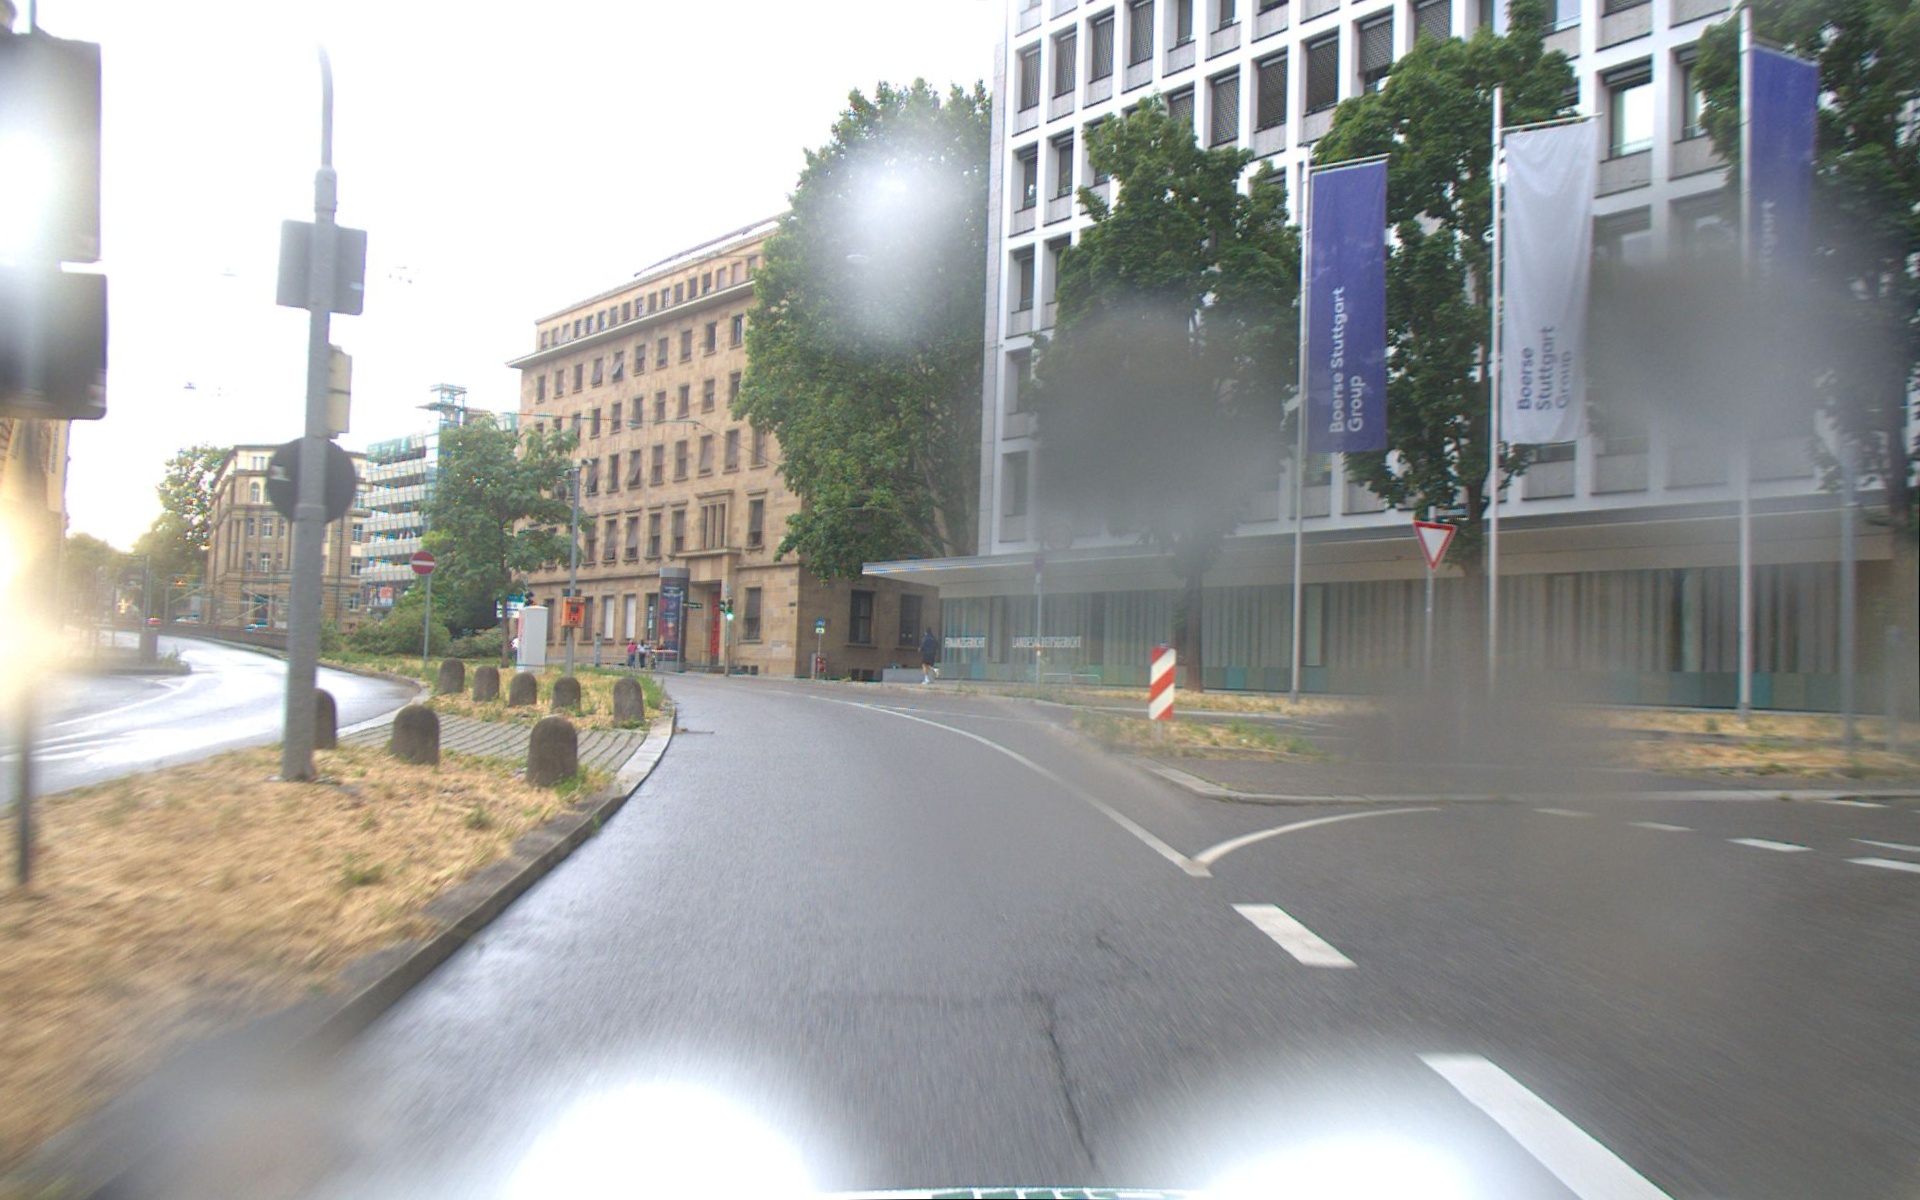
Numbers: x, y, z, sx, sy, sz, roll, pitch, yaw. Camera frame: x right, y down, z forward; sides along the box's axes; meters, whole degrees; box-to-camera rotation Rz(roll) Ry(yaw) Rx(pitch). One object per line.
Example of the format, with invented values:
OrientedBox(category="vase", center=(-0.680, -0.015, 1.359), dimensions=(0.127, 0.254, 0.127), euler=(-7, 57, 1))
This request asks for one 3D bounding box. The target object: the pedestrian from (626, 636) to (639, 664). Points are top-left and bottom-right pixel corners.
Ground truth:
OrientedBox(category="pedestrian", center=(-17.955, 2.757, 90.727), dimensions=(0.517, 1.518, 0.670), euler=(3, -3, -20))

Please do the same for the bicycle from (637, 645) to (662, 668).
OrientedBox(category="bicycle", center=(-14.127, 2.567, 75.161), dimensions=(0.484, 1.030, 1.908), euler=(4, -3, -30))

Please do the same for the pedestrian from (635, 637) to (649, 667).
OrientedBox(category="pedestrian", center=(-17.559, 2.850, 91.251), dimensions=(0.518, 1.631, 0.667), euler=(4, -3, -29))

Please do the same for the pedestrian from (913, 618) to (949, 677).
OrientedBox(category="pedestrian", center=(-0.898, 1.468, 51.419), dimensions=(0.770, 1.803, 0.855), euler=(3, -3, -27))
